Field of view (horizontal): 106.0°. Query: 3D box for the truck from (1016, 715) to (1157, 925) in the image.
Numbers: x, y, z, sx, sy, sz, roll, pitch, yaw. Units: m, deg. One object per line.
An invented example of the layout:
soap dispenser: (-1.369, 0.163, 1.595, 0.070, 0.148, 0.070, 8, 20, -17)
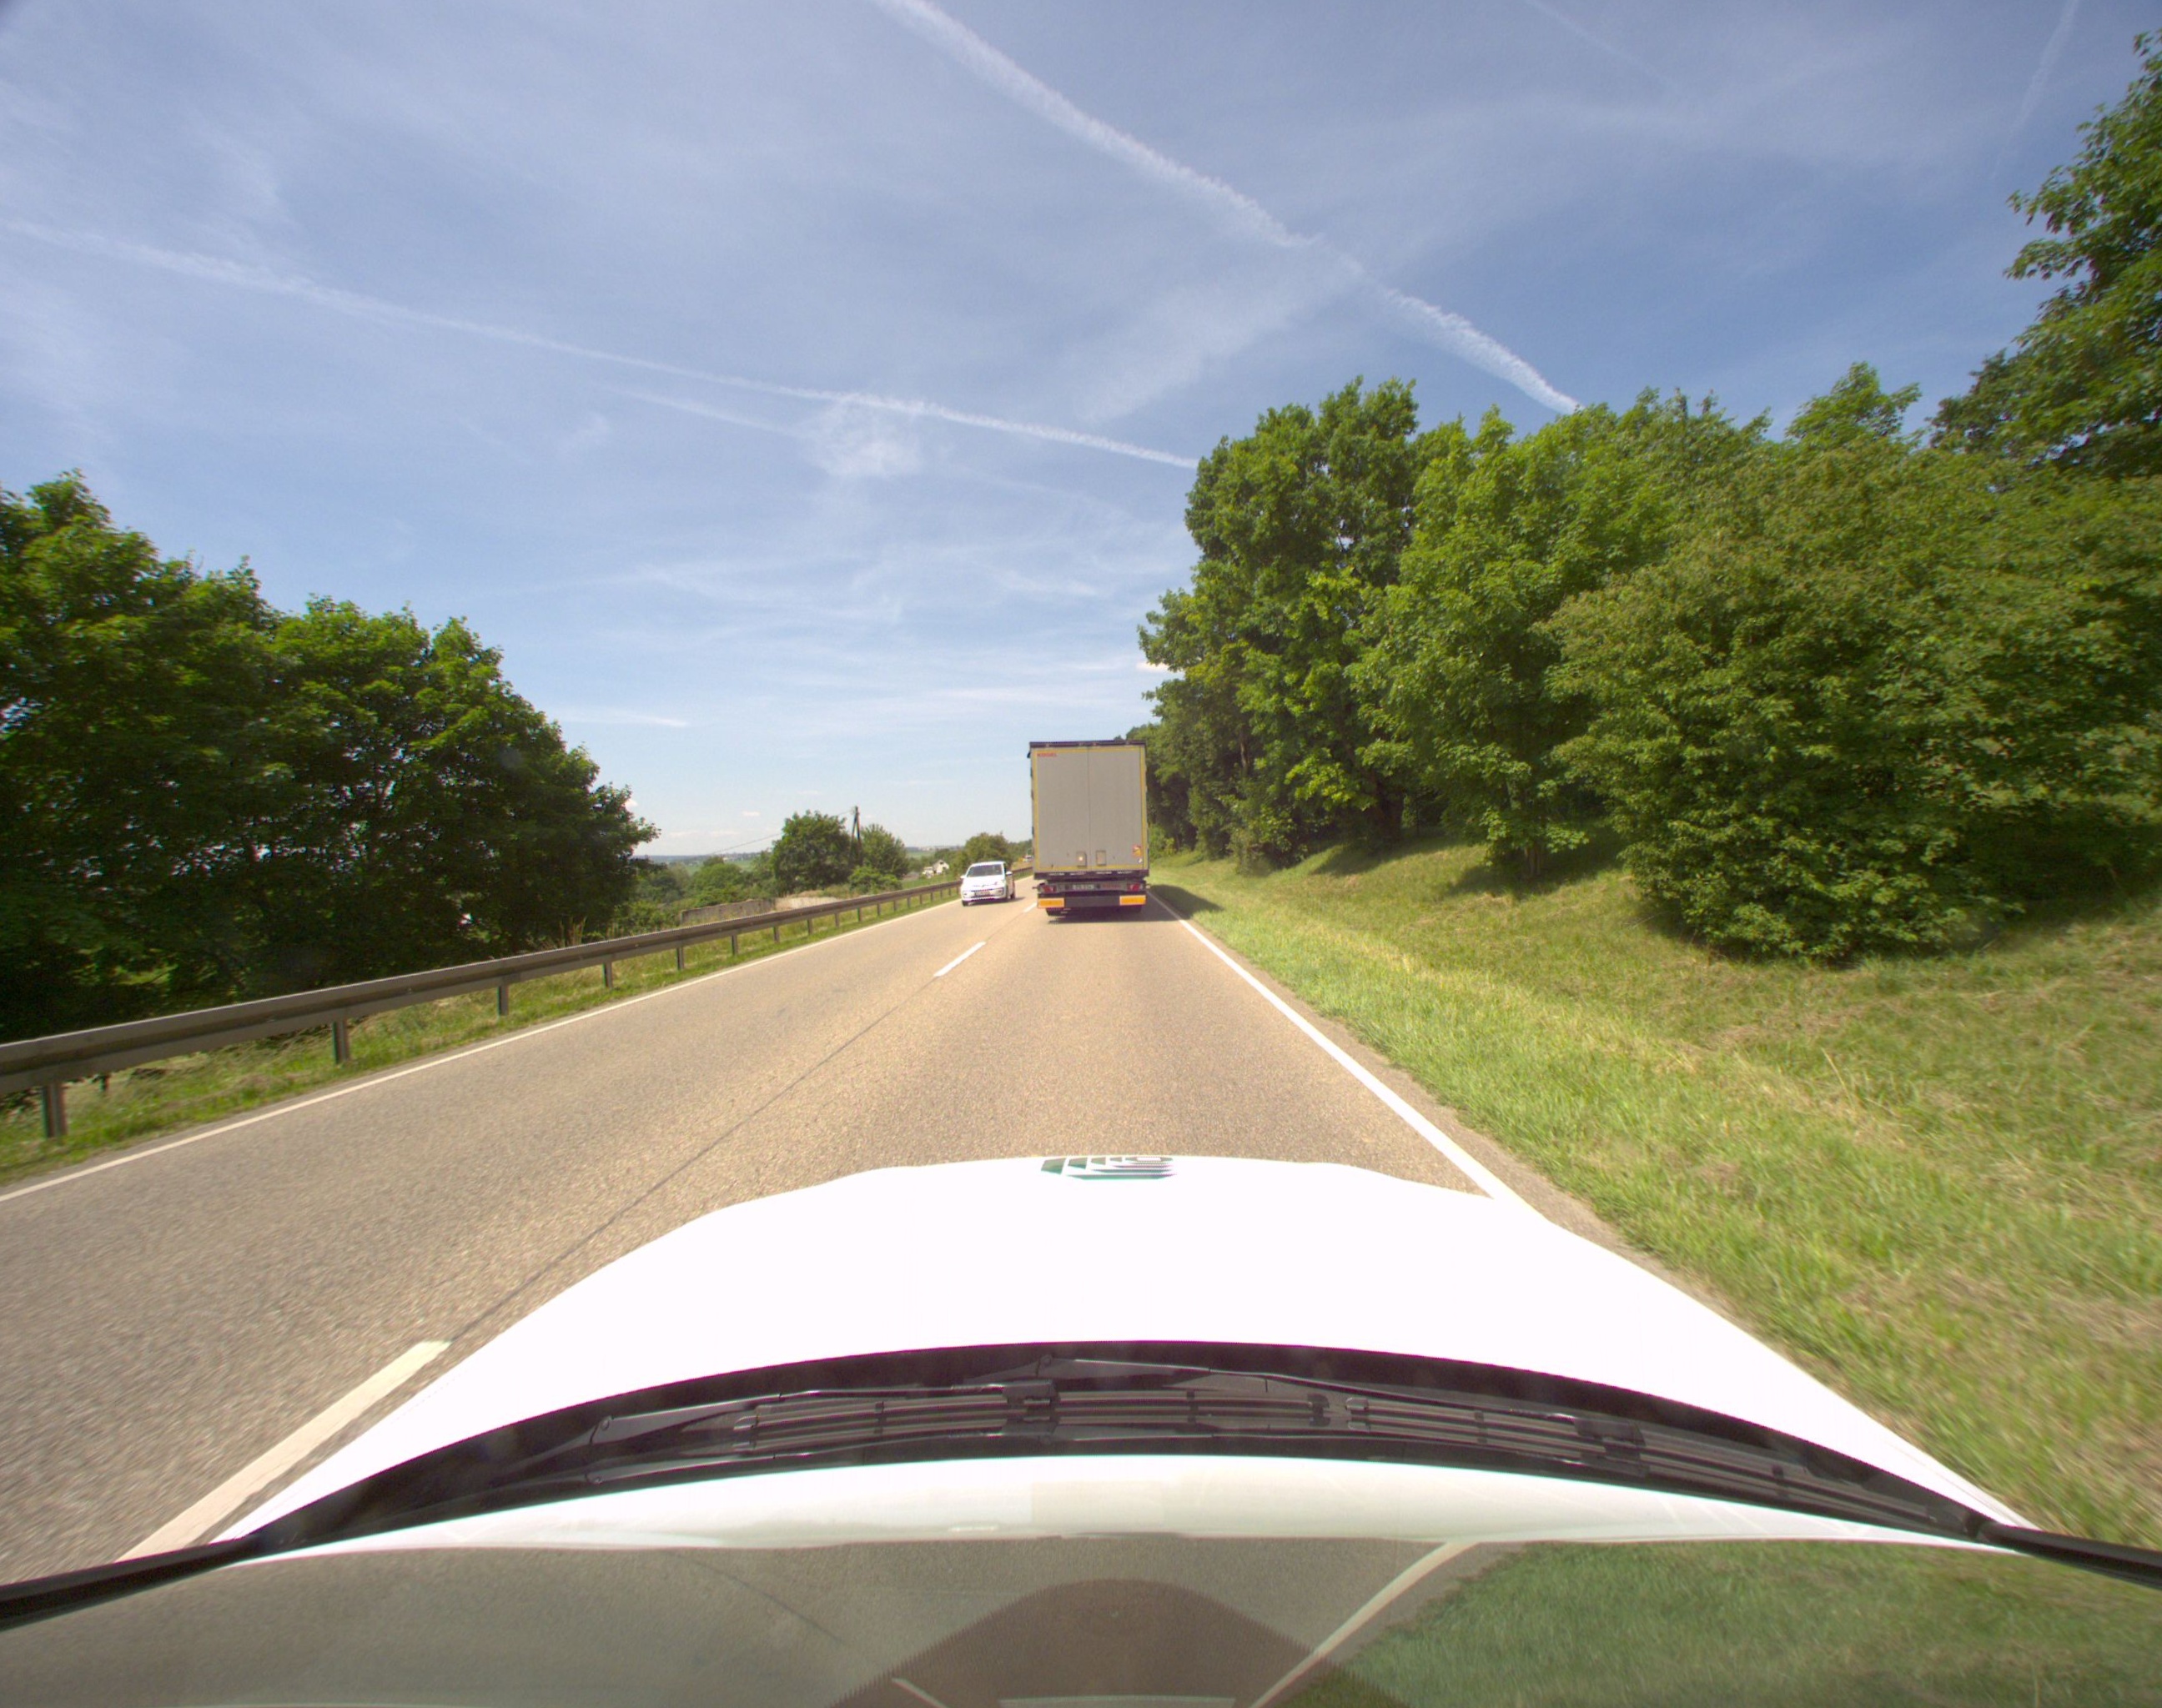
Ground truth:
truck: (0.210, -0.725, 21.772, 2.897, 4.410, 8.861, -1, 0, 1)

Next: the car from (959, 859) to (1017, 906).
car: (-3.345, 0.986, 29.846, 1.552, 1.462, 3.550, -5, 0, 1)
